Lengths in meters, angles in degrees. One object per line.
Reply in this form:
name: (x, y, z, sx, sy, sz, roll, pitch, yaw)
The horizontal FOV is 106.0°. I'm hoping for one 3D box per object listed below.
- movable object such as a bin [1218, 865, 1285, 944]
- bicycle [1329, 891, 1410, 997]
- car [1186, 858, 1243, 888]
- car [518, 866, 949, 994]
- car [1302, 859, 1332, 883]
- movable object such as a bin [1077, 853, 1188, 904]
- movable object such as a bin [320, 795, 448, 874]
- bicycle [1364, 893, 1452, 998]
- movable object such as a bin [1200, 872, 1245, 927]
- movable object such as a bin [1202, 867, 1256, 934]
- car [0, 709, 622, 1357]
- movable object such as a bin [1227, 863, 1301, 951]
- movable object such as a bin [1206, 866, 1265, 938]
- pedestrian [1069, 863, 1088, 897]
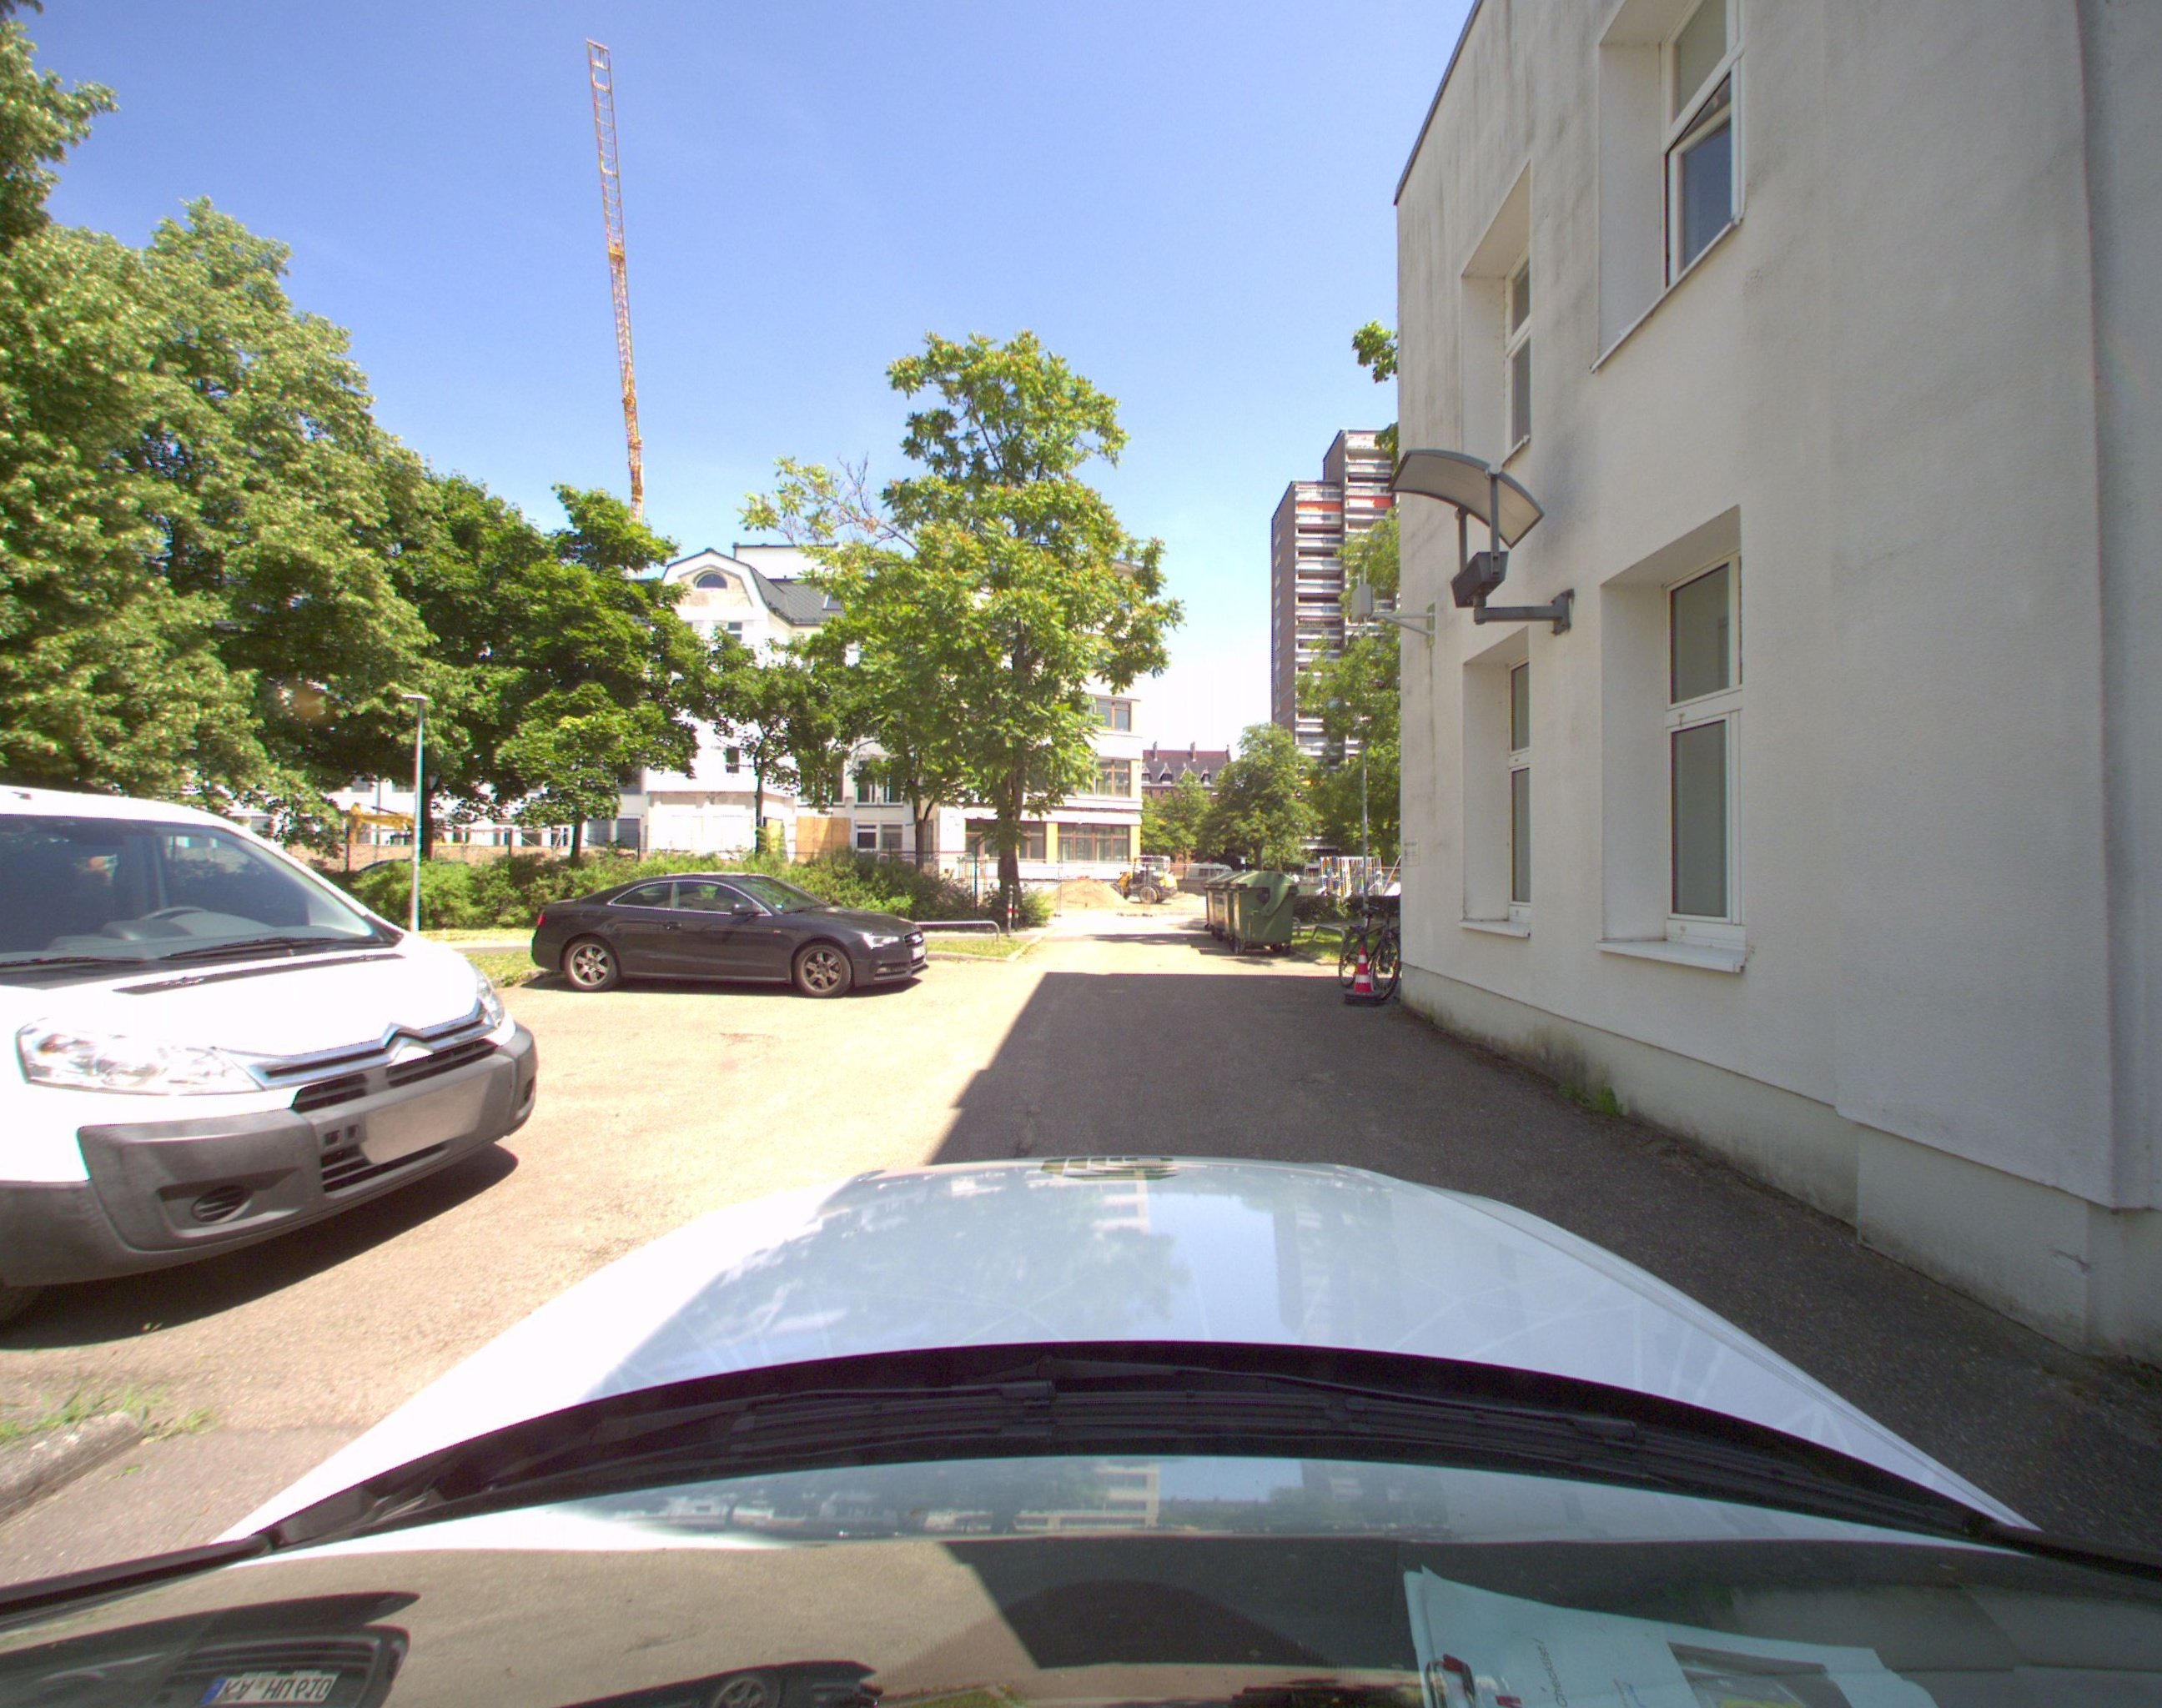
movable object such as a bin: (3.279, 0.949, 15.806, 1.071, 1.458, 1.378, 0, -2, 3)
bicycle: (3.399, 1.013, 9.721, 0.403, 1.102, 1.827, 0, -2, 3)
car: (10.981, 1.593, 67.243, 2.004, 2.417, 5.197, 1, -2, -26)
car: (-4.058, 0.861, 10.055, 4.409, 1.380, 2.026, 0, -2, 4)
car: (22.886, 1.699, 78.788, 2.165, 2.258, 4.895, -1, -2, 24)
movable object such as a bin: (2.725, 1.257, 43.364, 5.351, 2.464, 2.382, 1, -1, 31)
movable object such as a bin: (-39.415, -1.058, 46.129, 5.676, 4.373, 2.003, 0, -2, 6)
bicycle: (3.868, 1.039, 9.756, 0.403, 1.102, 1.827, 0, -2, 3)
movable object such as a bin: (3.833, 1.223, 22.189, 1.071, 1.458, 1.378, 0, -2, 3)
movable object such as a bin: (3.372, 1.048, 18.698, 1.071, 1.458, 1.378, 0, -2, 3)
car: (-5.024, 0.539, 3.585, 4.825, 1.884, 2.070, 0, -2, 4)
movable object such as a bin: (3.187, 0.907, 14.365, 1.071, 1.458, 1.378, 0, -2, 3)
movable object such as a bin: (3.244, 0.991, 17.281, 1.071, 1.458, 1.378, 0, -2, 3)
pedestrian: (-0.150, 1.427, 44.465, 0.913, 1.847, 0.984, 0, -2, -6)
